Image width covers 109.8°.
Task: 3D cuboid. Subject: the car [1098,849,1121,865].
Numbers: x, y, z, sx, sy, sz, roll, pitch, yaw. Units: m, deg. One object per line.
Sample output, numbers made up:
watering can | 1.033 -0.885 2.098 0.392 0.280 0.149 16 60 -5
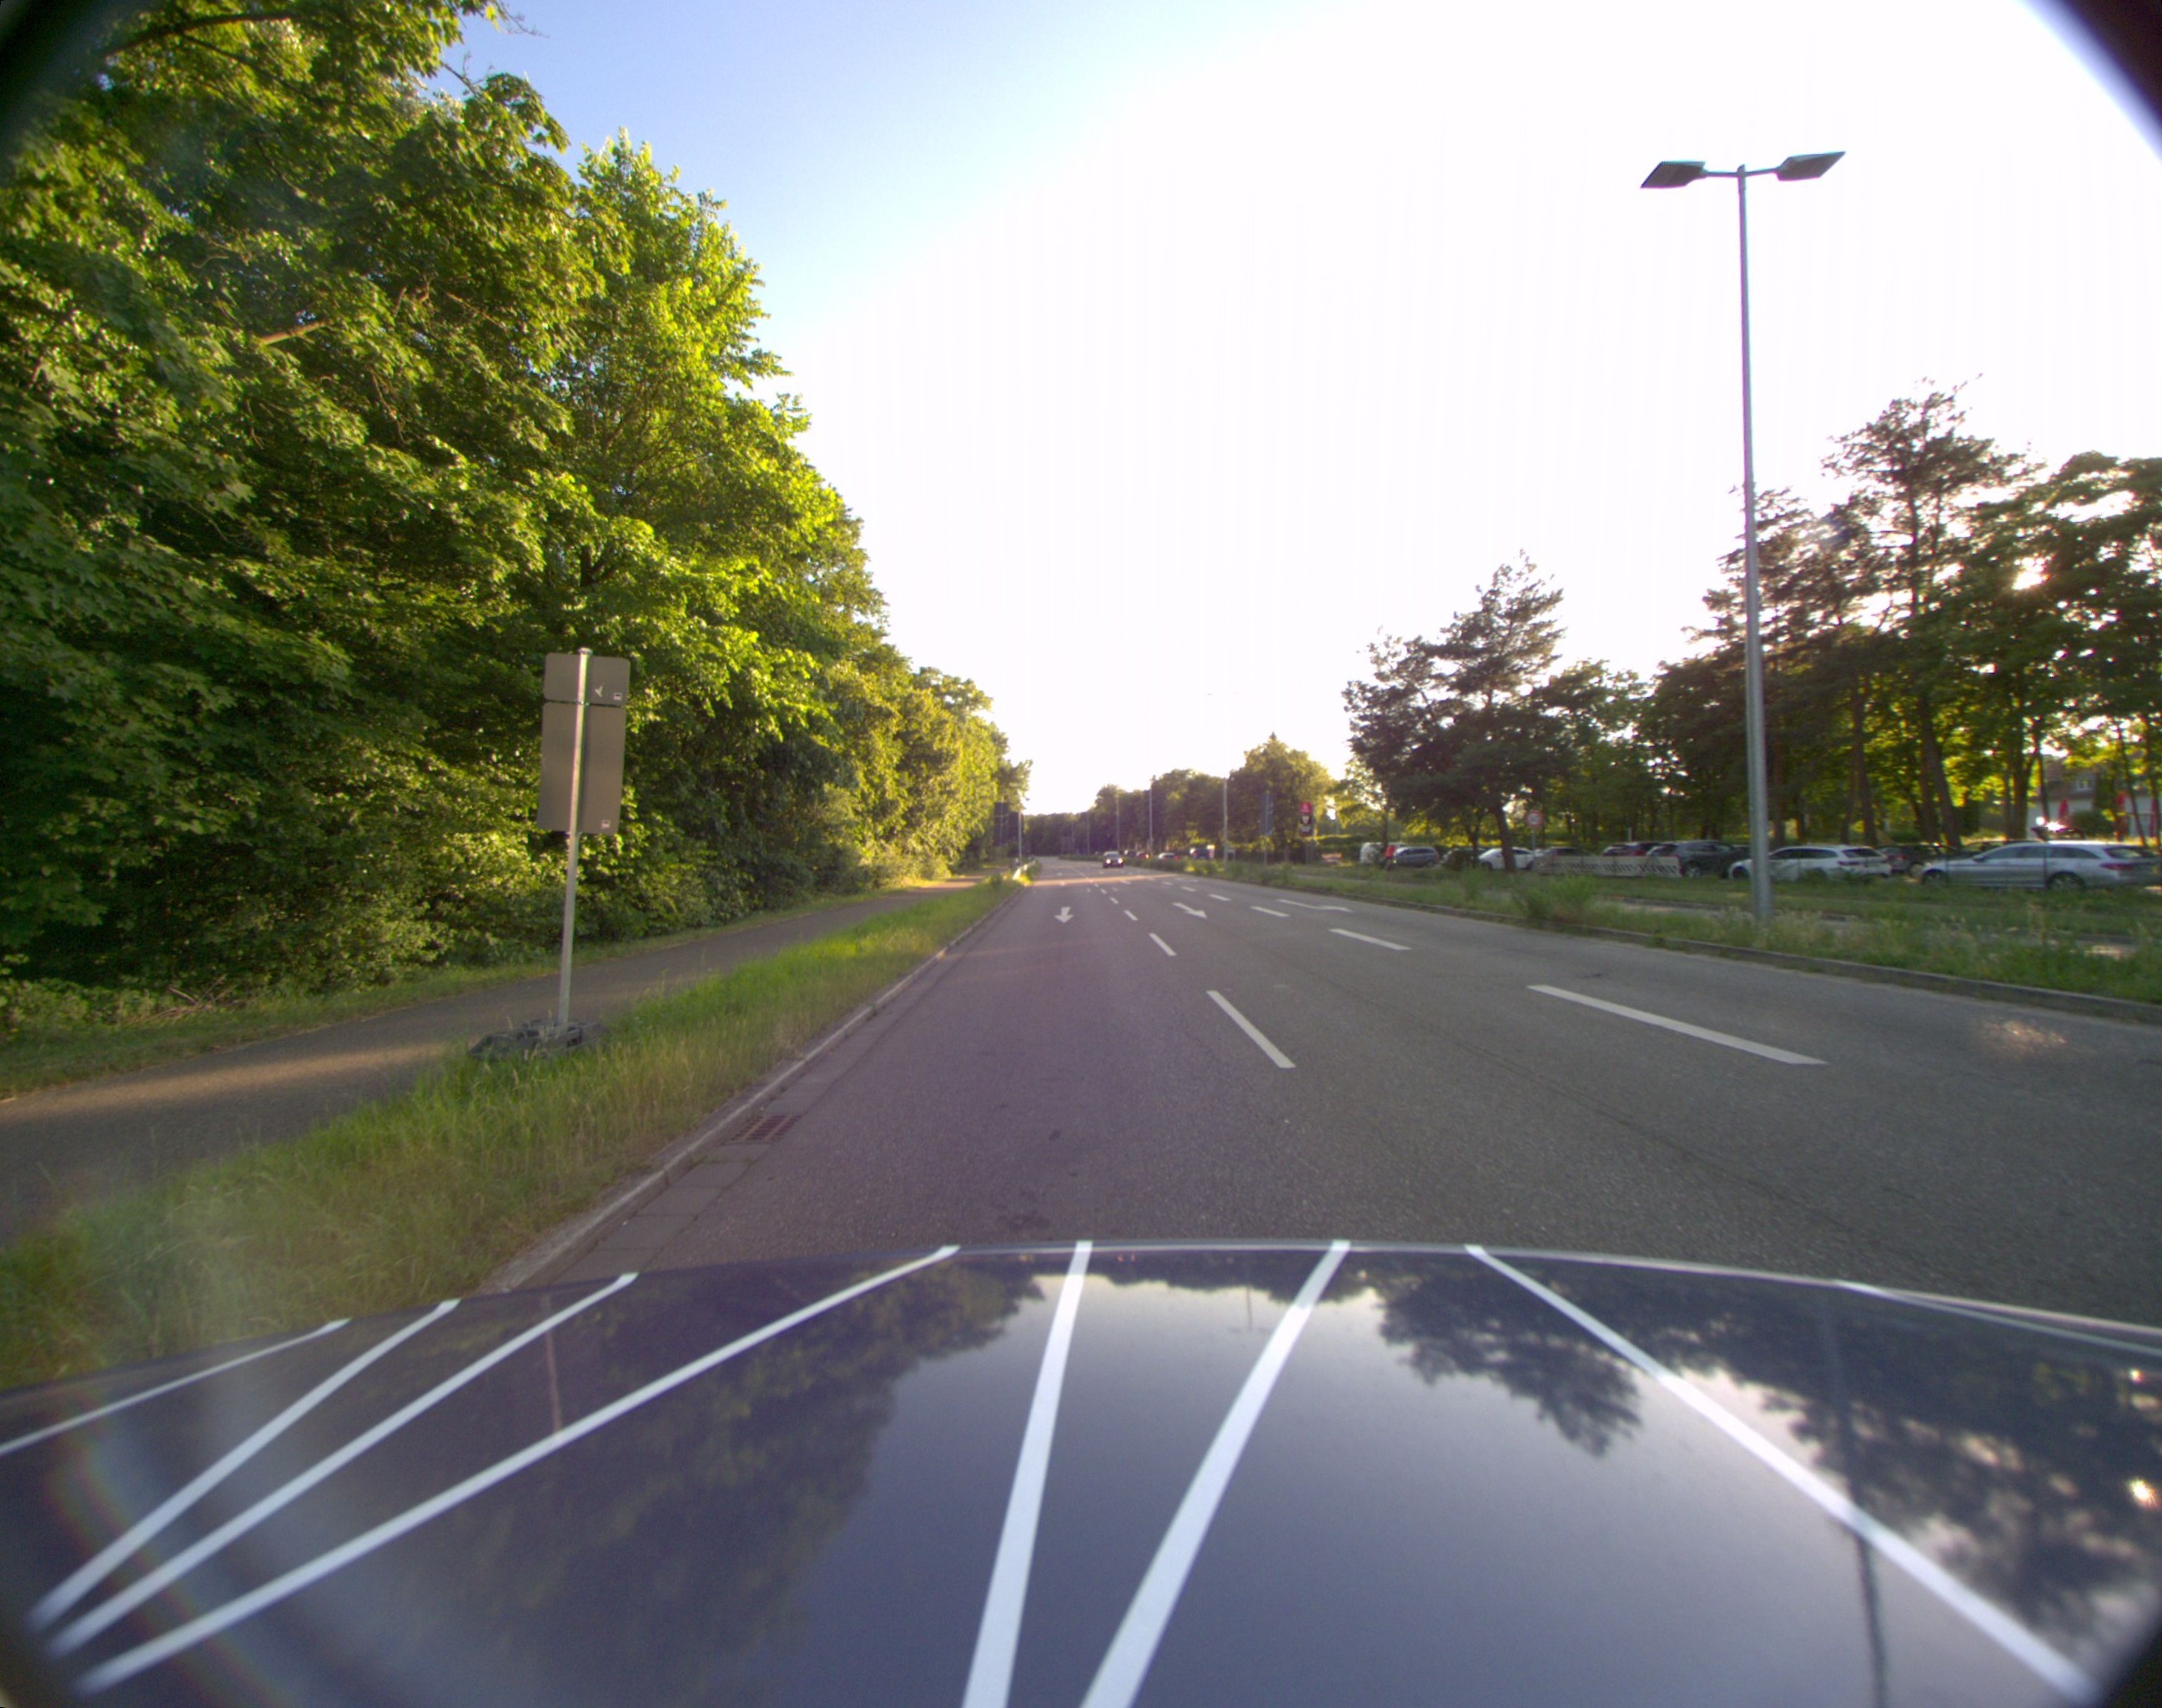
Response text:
car | 2.775 0.280 75.469 1.999 1.543 3.999 -1 0 -2

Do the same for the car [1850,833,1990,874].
car | 35.488 -0.014 32.202 3.997 1.641 1.766 -1 1 -1

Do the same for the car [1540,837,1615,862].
car | 34.234 -0.320 52.441 3.997 1.641 1.766 -1 1 0

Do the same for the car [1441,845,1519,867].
car | 25.280 0.102 48.211 3.997 1.304 1.732 -1 1 -1

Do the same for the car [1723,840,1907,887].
car | 26.478 0.304 27.710 1.999 1.539 4.708 -1 0 -4

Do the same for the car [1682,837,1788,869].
car | 34.165 -0.054 39.760 3.997 1.641 1.766 -1 1 0

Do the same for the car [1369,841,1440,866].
car | 24.250 -0.018 57.008 4.498 1.787 1.909 -1 1 -2

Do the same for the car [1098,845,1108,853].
car | 4.577 -1.150 160.669 1.760 1.532 3.998 -3 1 -3

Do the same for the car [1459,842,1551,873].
car | 25.266 0.197 45.383 4.497 1.743 1.909 -1 1 -1

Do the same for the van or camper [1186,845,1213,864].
van or camper | 12.849 0.060 82.440 1.999 2.002 4.576 -1 0 -3

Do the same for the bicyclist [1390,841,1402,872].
bicyclist | 18.922 0.141 45.622 0.459 1.863 0.618 -1 1 -4

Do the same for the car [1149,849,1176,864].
car | 8.687 0.256 81.326 1.999 1.486 4.510 -1 0 -4

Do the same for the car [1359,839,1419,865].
car | 24.324 -0.168 60.049 3.998 1.932 1.766 -1 1 -2

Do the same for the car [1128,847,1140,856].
car | 9.335 -0.456 133.443 1.760 1.532 3.998 -3 1 -1

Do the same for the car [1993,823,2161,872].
car | 35.036 -0.234 26.647 3.997 1.641 1.766 -1 1 -1

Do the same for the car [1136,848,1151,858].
car | 10.281 -0.197 125.122 1.760 1.532 3.998 -3 1 -3

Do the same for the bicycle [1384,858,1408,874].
bicycle | 18.926 0.693 45.671 0.493 0.928 2.043 -1 0 -4

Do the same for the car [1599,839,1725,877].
car | 26.573 0.165 34.812 4.525 1.608 1.771 -1 1 -3

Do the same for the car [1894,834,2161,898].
car | 26.820 0.286 21.601 1.999 1.597 4.920 -1 0 -4

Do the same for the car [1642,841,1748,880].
car | 25.583 0.255 31.733 3.099 1.518 1.659 -1 1 -2
